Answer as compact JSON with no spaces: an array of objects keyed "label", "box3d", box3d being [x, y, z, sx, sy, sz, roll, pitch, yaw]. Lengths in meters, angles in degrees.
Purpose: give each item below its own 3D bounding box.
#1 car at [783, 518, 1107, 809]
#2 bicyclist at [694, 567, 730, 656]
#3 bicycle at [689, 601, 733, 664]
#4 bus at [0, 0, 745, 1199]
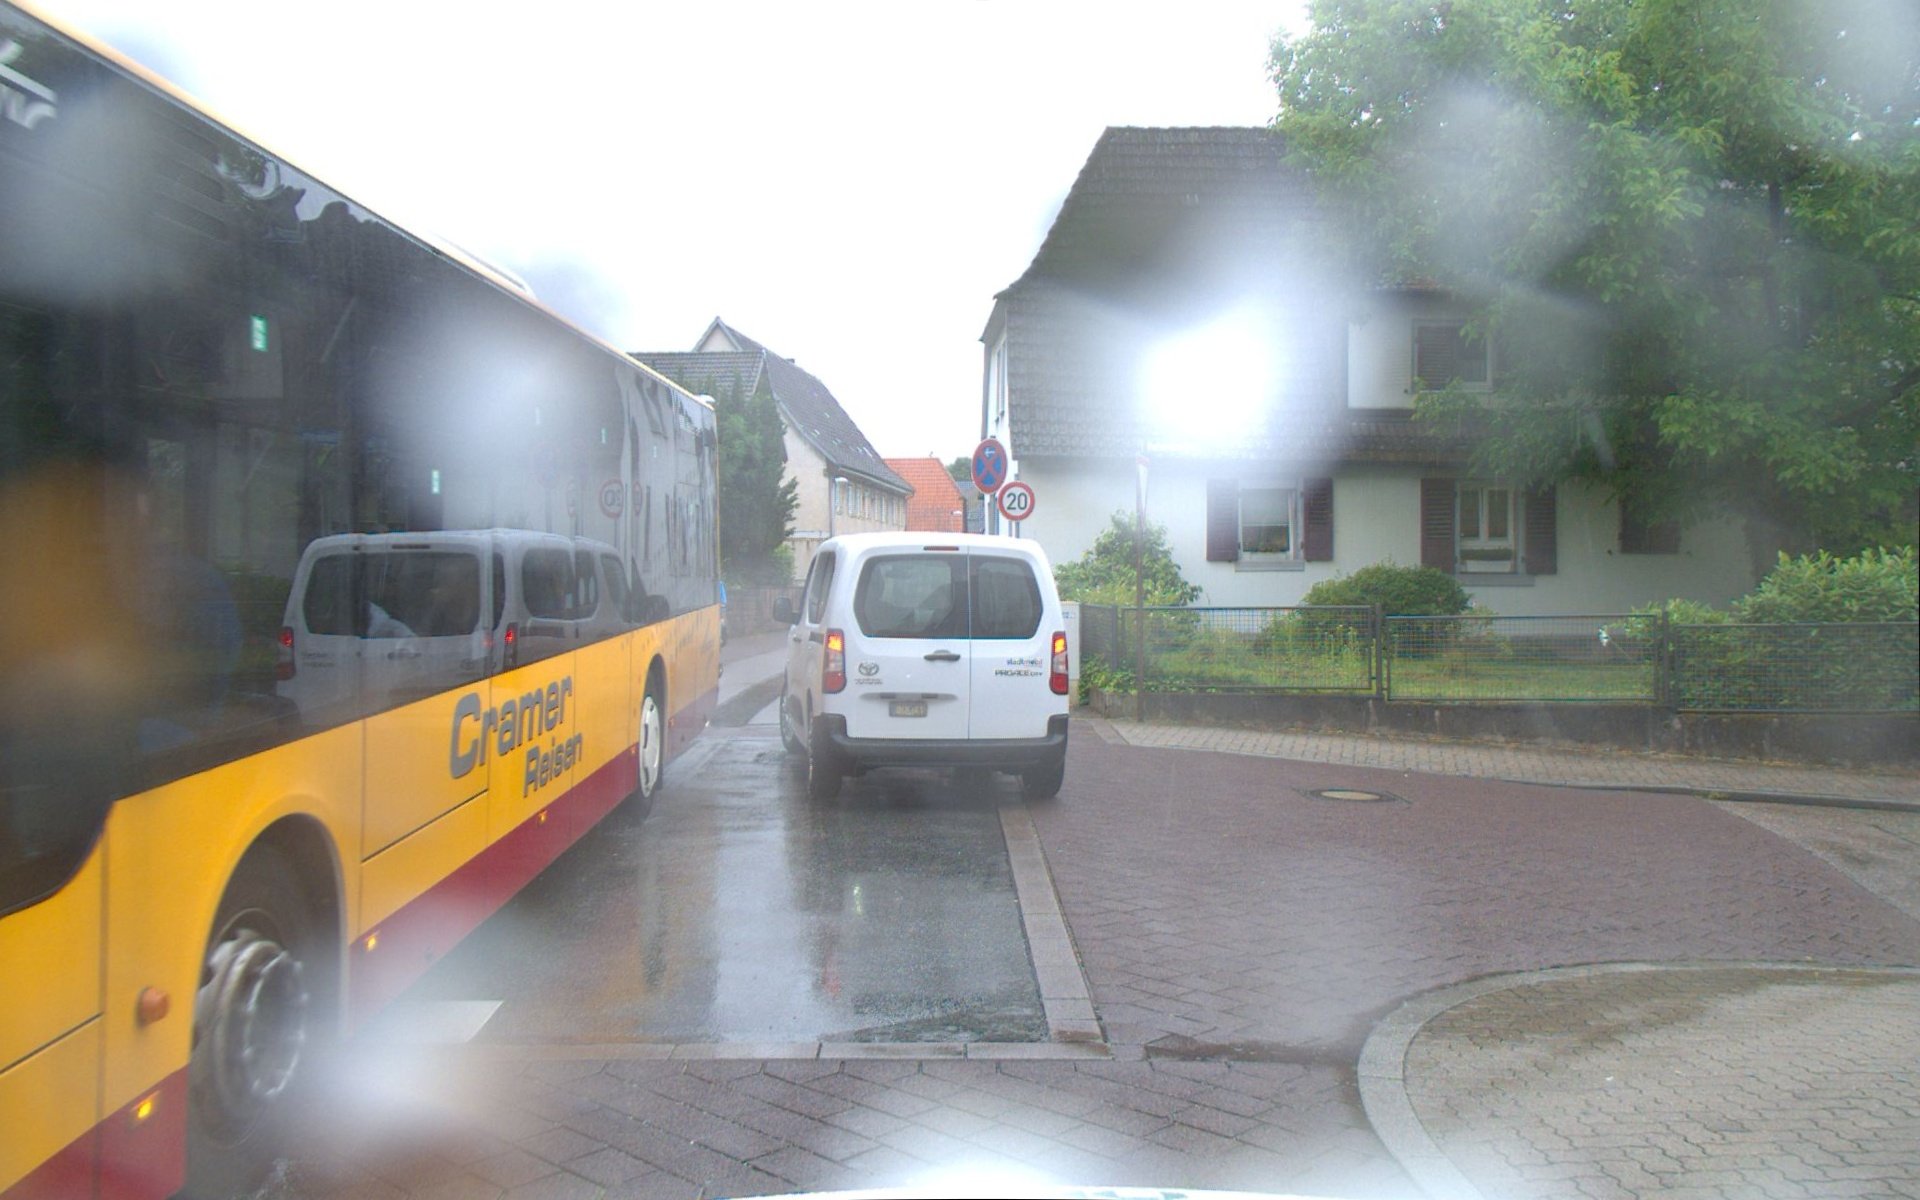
[{"label":"car","box3d":[-0.281,0.399,12.423,1.859,1.825,3.805,1,0,-9]},{"label":"bicyclist","box3d":[-4.940,0.220,32.899,0.577,1.737,0.517,-2,-1,2]},{"label":"bicycle","box3d":[-4.929,0.642,32.813,0.535,1.202,1.621,-2,-1,2]},{"label":"bus","box3d":[-2.955,-0.205,7.573,2.596,3.051,12.191,1,2,-1]}]
